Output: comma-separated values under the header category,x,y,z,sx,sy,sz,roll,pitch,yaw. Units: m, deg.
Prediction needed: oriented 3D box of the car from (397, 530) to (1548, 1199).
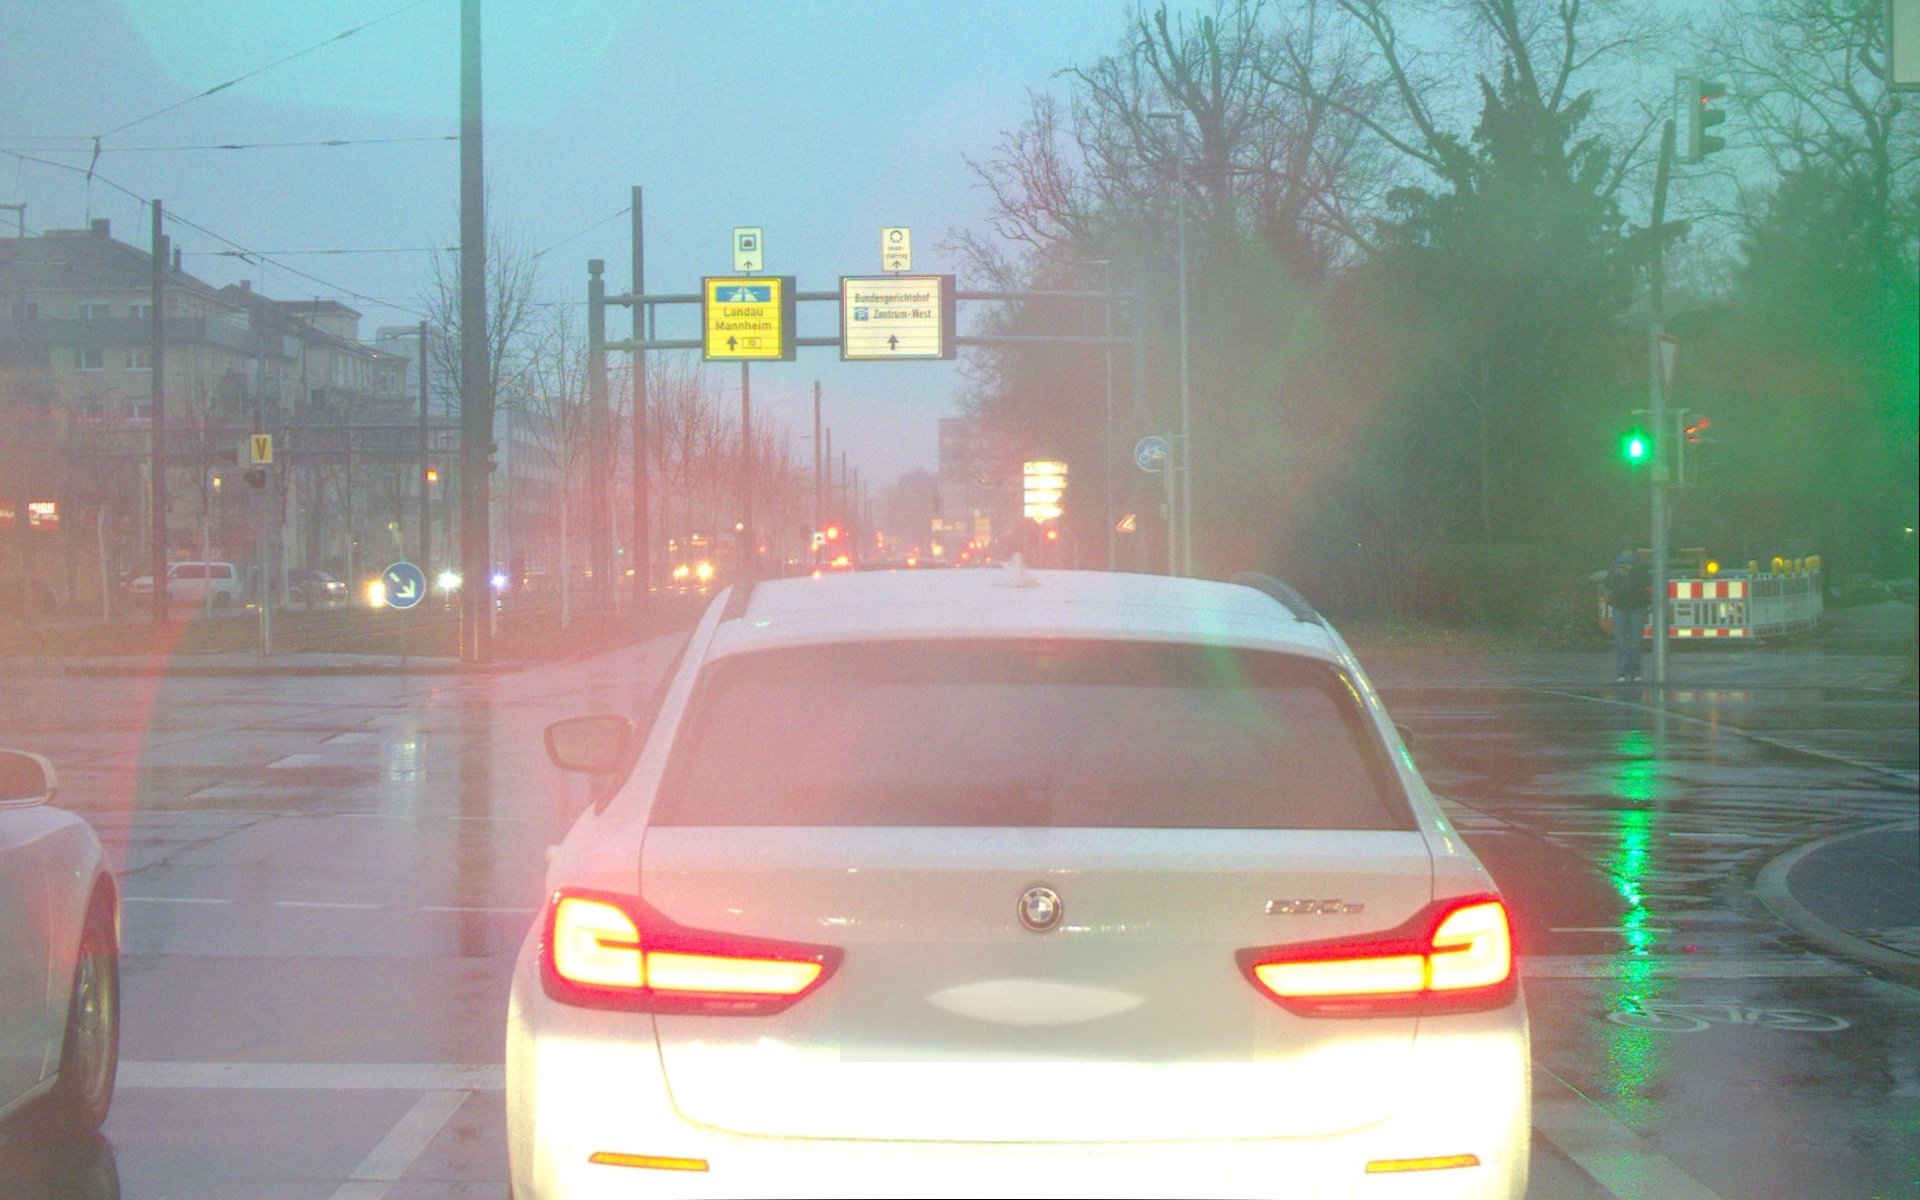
category,x,y,z,sx,sy,sz,roll,pitch,yaw
car,-0.079,0.656,7.414,1.759,1.547,4.252,1,1,-3

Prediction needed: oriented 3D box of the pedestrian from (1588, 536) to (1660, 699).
category,x,y,z,sx,sy,sz,roll,pitch,yaw
pedestrian,7.729,0.201,40.043,0.673,1.873,0.715,1,0,0

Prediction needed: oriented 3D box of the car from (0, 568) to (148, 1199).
category,x,y,z,sx,sy,sz,roll,pitch,yaw
car,-2.951,0.663,7.004,1.759,1.464,4.252,1,1,-3

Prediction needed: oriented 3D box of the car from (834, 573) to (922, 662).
category,x,y,z,sx,sy,sz,roll,pitch,yaw
car,-1.896,0.387,80.792,1.993,2.007,4.000,1,1,-1

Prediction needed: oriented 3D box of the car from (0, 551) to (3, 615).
category,x,y,z,sx,sy,sz,roll,pitch,yaw
car,-22.612,-0.368,75.731,1.993,1.457,5.096,1,1,-4

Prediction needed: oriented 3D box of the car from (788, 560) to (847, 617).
category,x,y,z,sx,sy,sz,roll,pitch,yaw
car,-5.209,-0.437,126.190,1.993,2.007,4.000,1,1,-1
